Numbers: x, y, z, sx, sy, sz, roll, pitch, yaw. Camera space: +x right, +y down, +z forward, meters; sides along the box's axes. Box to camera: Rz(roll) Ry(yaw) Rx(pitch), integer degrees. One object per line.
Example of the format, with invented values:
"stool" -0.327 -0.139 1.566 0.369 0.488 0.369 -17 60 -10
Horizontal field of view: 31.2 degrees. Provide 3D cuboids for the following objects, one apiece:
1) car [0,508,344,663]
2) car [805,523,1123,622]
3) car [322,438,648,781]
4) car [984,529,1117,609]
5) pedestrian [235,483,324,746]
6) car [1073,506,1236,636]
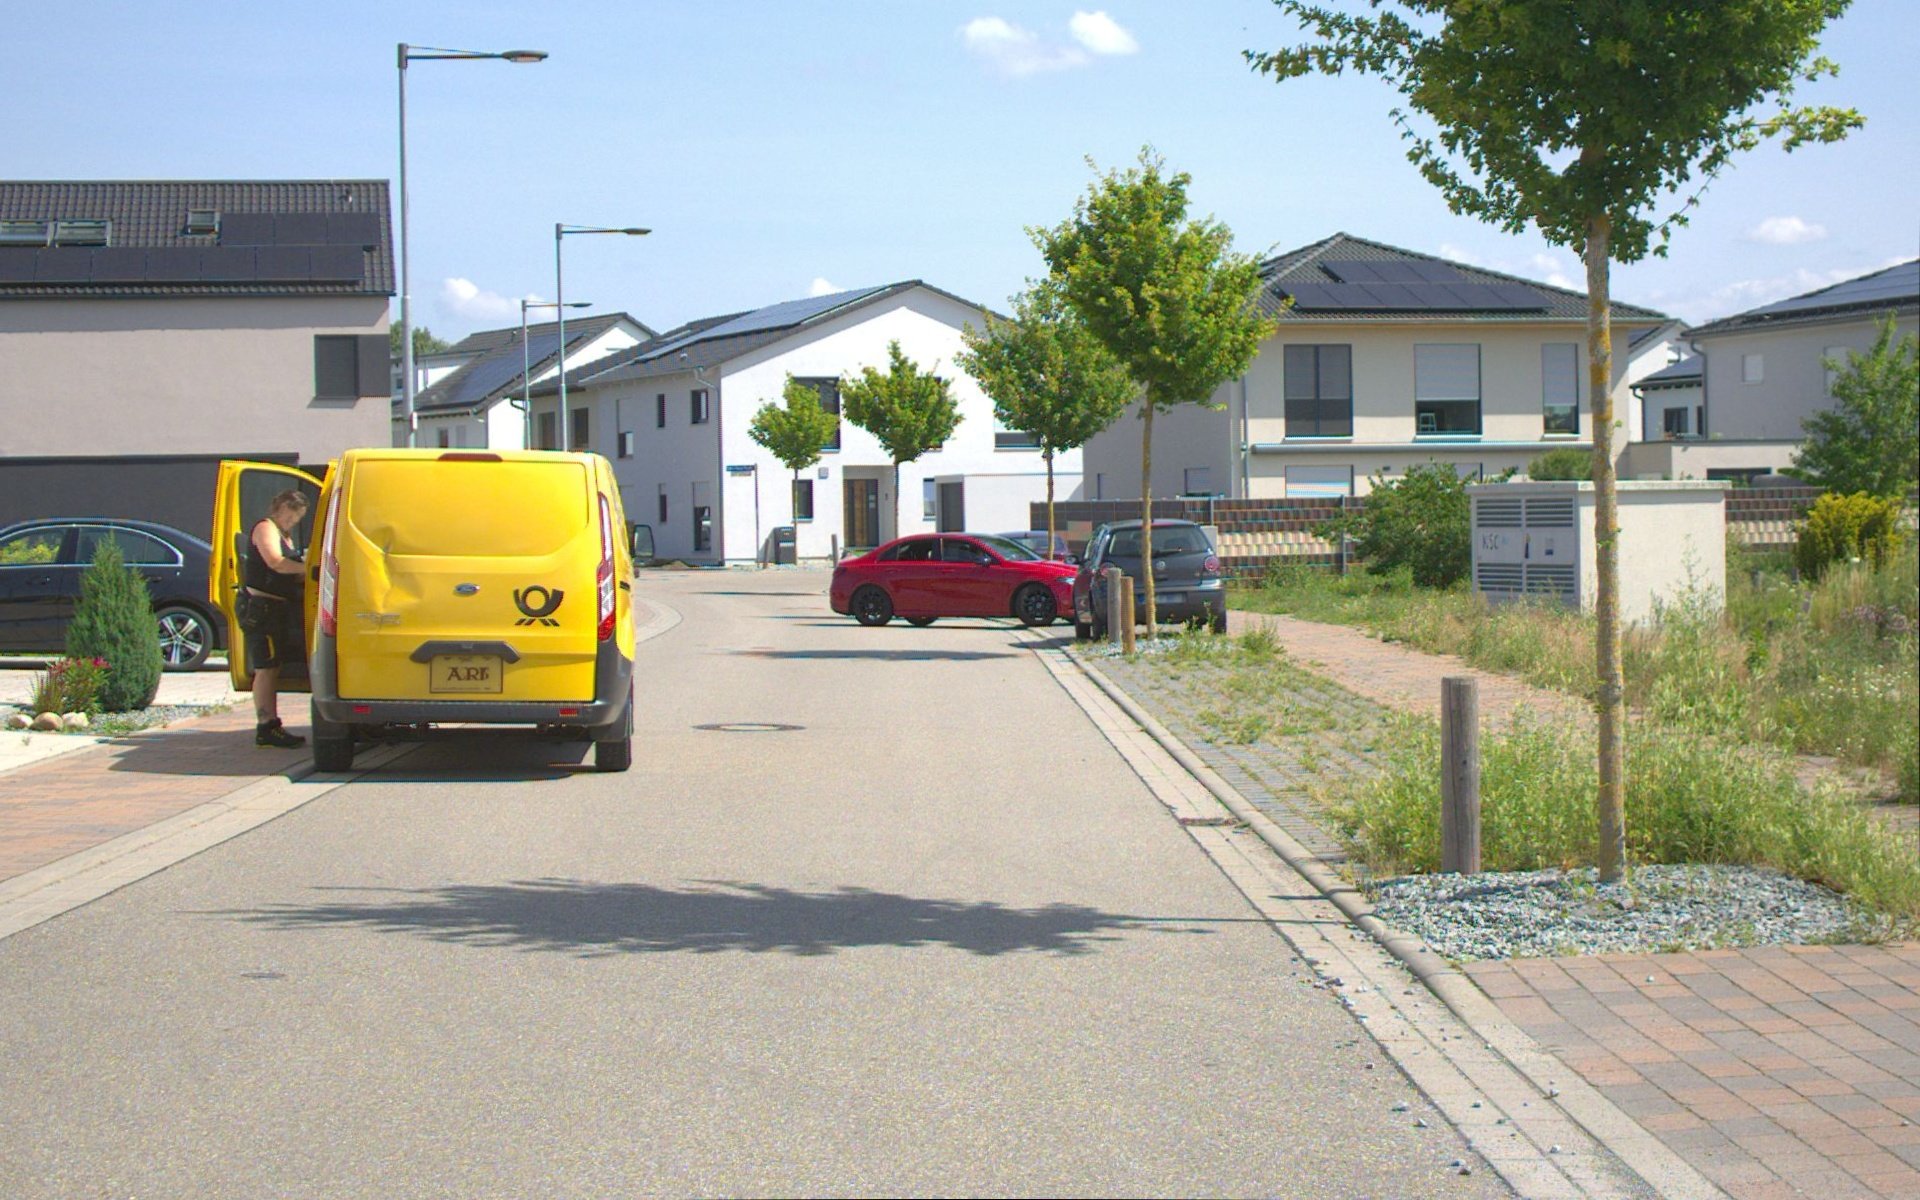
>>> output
"car" -8.236 -0.154 33.178 4.391 1.447 1.750 0 1 -14
"car" 0.047 -0.443 52.059 4.511 1.433 1.766 1 1 28
"car" -3.037 0.015 22.835 1.883 2.007 4.842 1 1 -5
"car" 1.572 -0.577 61.476 1.754 1.358 4.577 0 1 -6
"pedestrian" -4.536 0.088 22.938 0.531 1.732 0.570 1 1 -7
"car" 2.360 -0.391 42.559 1.598 1.470 3.675 -3 2 -2
